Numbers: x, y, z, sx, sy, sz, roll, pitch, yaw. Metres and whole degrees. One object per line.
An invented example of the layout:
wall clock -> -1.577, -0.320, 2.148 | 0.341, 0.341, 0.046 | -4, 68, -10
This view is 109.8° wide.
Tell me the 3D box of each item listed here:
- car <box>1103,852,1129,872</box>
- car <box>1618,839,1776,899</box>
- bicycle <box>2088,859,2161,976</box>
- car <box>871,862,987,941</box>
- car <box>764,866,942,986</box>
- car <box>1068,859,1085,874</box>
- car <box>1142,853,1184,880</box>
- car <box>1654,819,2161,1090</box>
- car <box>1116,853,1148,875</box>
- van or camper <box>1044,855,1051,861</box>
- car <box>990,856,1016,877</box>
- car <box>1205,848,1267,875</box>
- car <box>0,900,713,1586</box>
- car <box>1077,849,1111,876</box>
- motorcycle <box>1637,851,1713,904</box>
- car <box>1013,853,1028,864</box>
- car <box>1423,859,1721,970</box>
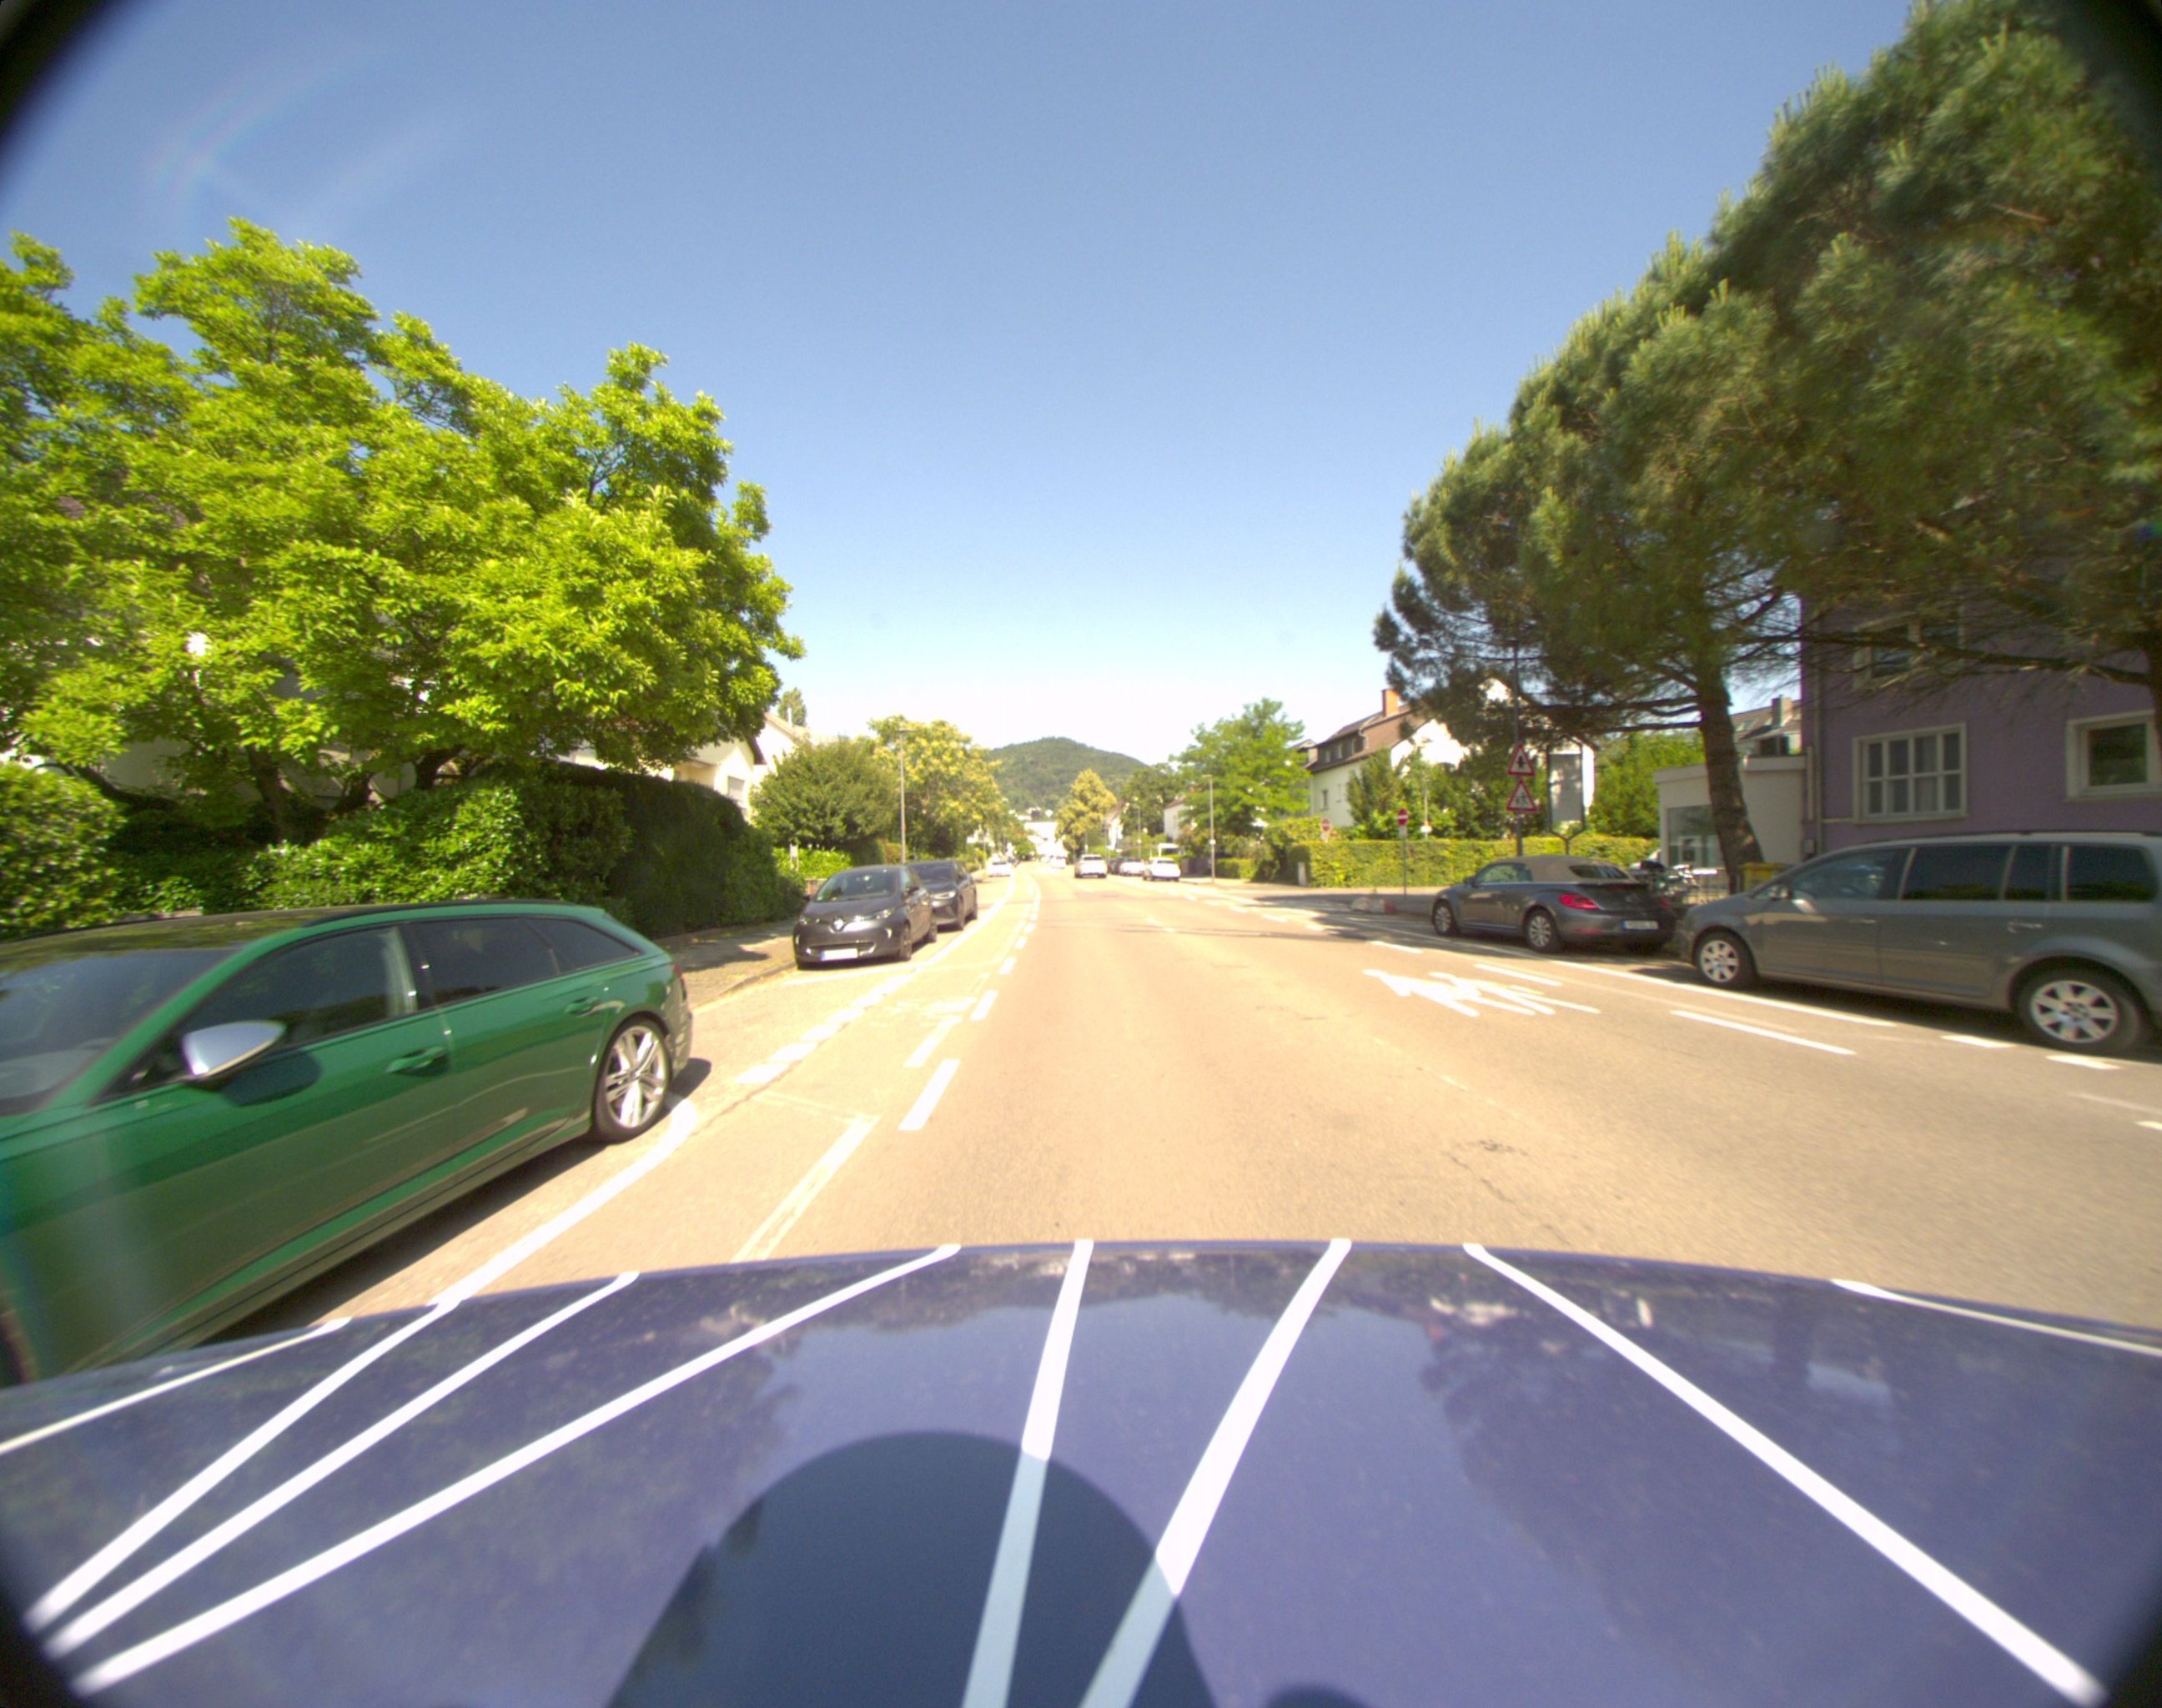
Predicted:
car -> 3.178, 0.707, 69.562 | 1.999, 1.674, 3.999 | -1, 0, -3
car -> 21.533, 0.512, 26.689 | 3.998, 2.002, 2.000 | 0, 0, -2
bicycle -> 11.985, 0.693, 7.898 | 0.459, 1.259, 1.913 | -1, 0, -2
car -> -3.499, 1.029, 18.387 | 1.817, 1.550, 4.600 | -3, 0, 0
car -> -3.671, 1.081, 13.016 | 1.817, 1.550, 3.916 | -5, 0, -1
car -> -0.583, 1.502, 92.276 | 1.866, 1.741, 3.999 | 0, 0, -4
car -> 4.981, 0.724, 46.778 | 1.959, 1.543, 3.999 | -1, 0, -3
car -> 7.809, 0.663, 6.700 | 1.846, 1.754, 4.584 | 0, 0, -4
car -> 3.953, 0.769, 59.231 | 1.999, 1.608, 3.999 | -1, 0, -3
van or camper -> -9.602, 1.026, 217.053 | 1.998, 1.705, 4.000 | -1, 0, 0
car -> -6.797, 1.073, 65.905 | 2.000, 1.696, 3.997 | -2, 0, -8
car -> 10.553, 0.496, 52.015 | 3.995, 1.805, 2.001 | 0, 0, 7
car -> -3.488, 1.075, 2.734 | 1.816, 1.454, 4.788 | -4, -1, 1
car -> 0.853, 0.564, 53.539 | 2.006, 1.803, 4.763 | 0, 0, -4
motorcycle -> 14.686, 0.562, 18.834 | 0.516, 1.266, 1.501 | 0, 0, -11
car -> -9.650, 0.706, 120.996 | 2.000, 1.696, 3.997 | -2, 0, -8
car -> 7.426, 0.817, 12.106 | 1.846, 1.448, 4.192 | 0, 0, -4
